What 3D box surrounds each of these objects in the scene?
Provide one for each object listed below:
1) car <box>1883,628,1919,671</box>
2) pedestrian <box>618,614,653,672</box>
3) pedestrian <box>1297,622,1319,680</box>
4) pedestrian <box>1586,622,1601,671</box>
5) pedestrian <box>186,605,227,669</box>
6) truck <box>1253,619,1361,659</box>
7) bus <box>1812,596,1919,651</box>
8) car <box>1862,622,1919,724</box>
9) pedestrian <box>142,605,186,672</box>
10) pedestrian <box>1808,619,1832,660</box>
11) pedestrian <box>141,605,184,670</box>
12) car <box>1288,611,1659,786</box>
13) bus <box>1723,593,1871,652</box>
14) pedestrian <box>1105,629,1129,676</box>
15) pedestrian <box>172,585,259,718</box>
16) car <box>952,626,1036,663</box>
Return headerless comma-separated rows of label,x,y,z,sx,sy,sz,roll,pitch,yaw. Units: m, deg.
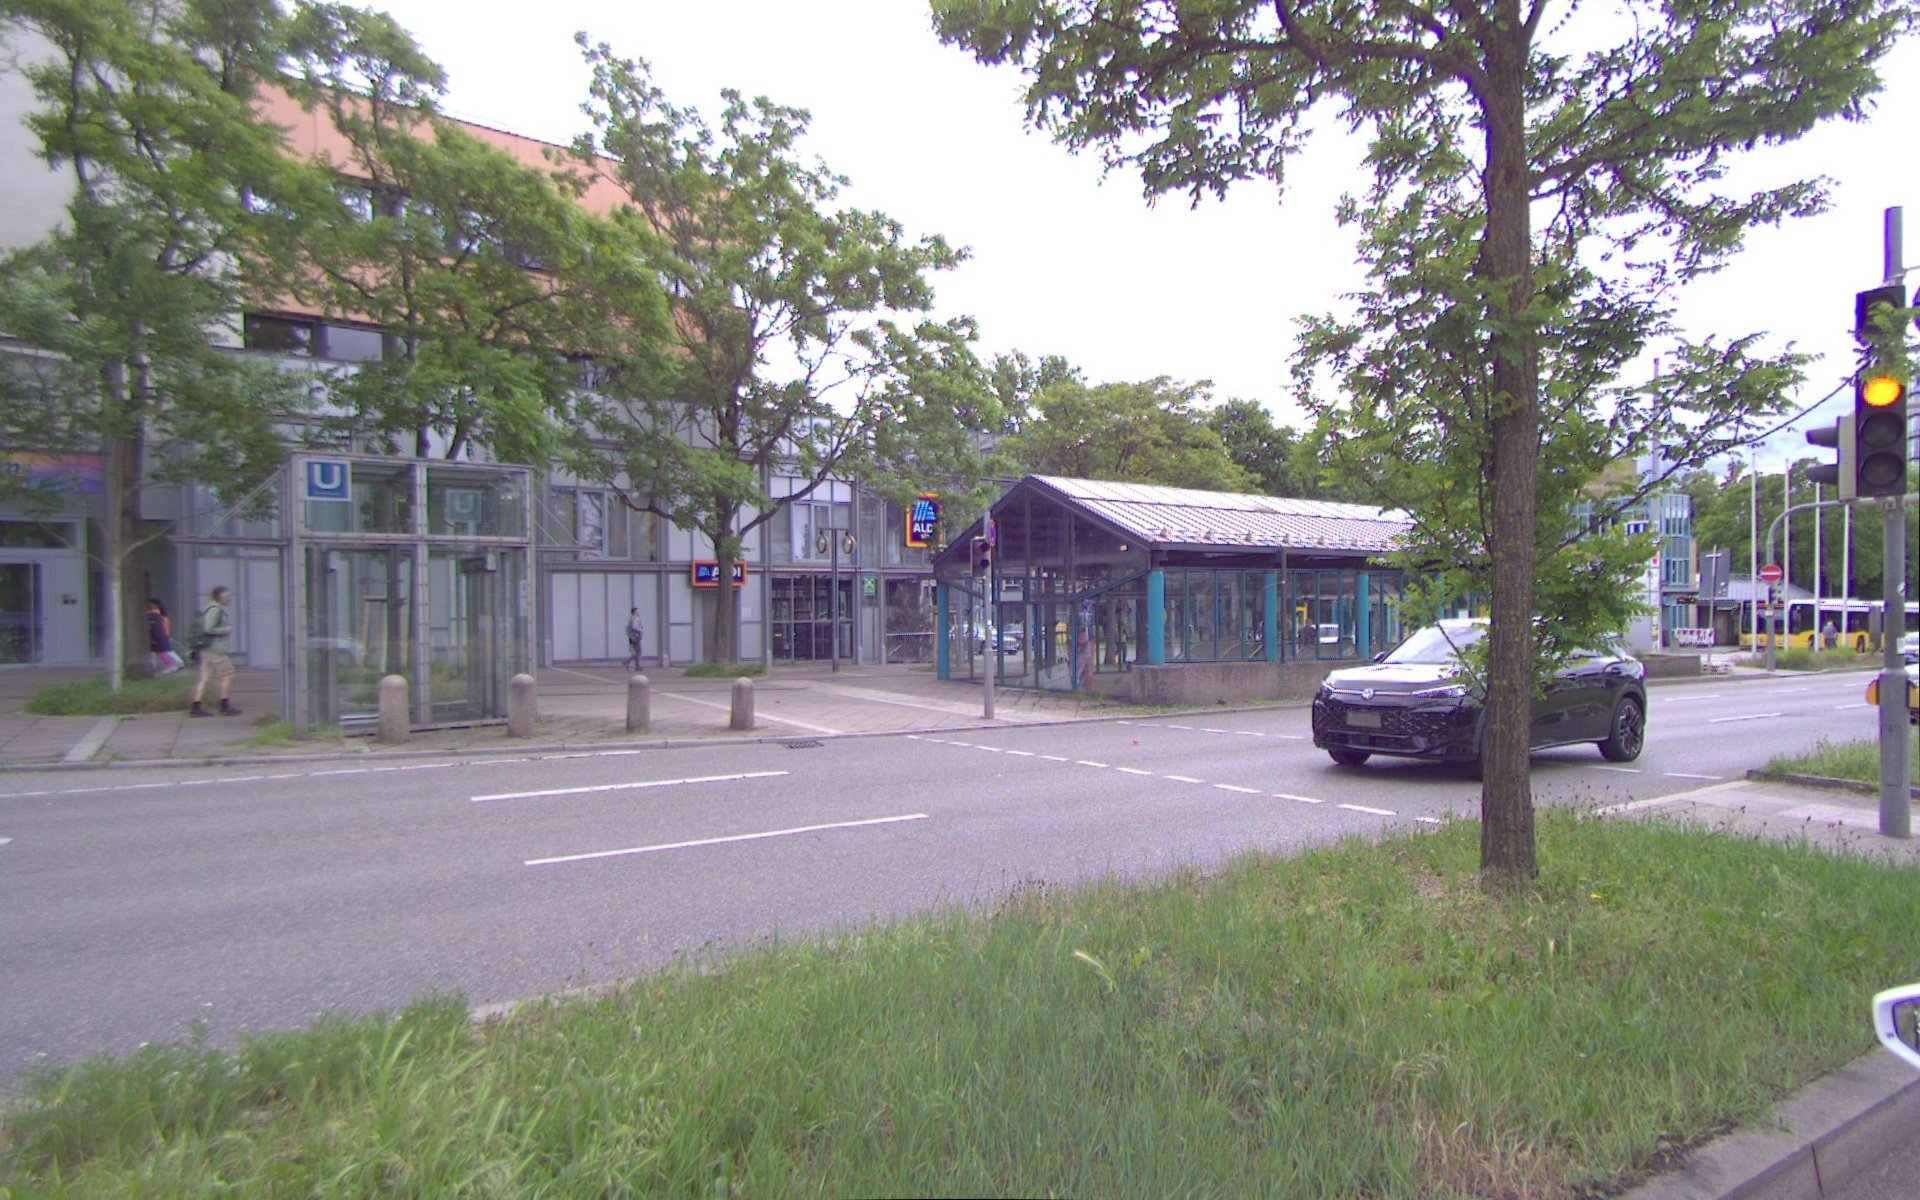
car,37.557,1.911,39.169,3.316,1.599,1.673,1,-1,-36
pedestrian,-8.525,1.127,26.367,0.748,1.499,0.525,1,-1,-36
pedestrian,11.045,1.605,31.852,0.521,1.786,0.754,0,-1,29
pedestrian,20.951,1.523,33.222,0.412,1.612,0.356,0,-1,31
pedestrian,-16.751,0.828,22.340,0.689,1.393,0.578,1,-1,-37
truck,14.164,1.561,40.974,3.926,1.537,1.997,0,-1,28
bus,57.929,1.539,63.769,7.771,3.313,2.980,1,-1,-26
car,16.429,1.116,15.132,4.204,1.501,1.714,0,1,-2
pedestrian,-16.980,0.817,21.446,0.689,1.393,0.578,1,-1,-37
pedestrian,40.082,1.838,46.802,0.677,1.922,0.658,1,-1,-30
pedestrian,-17.448,0.805,21.975,0.689,1.393,0.578,1,-1,-37
car,5.581,0.940,10.789,4.030,1.541,1.824,1,-3,-34
bus,49.932,1.377,59.829,10.036,3.293,2.980,1,-1,-26
pedestrian,5.727,1.920,36.685,0.703,1.677,0.517,1,-1,-37
pedestrian,-10.794,0.738,14.574,0.530,1.857,0.916,0,-1,44
car,1.659,2.190,50.382,1.769,1.710,4.838,1,-1,-33
